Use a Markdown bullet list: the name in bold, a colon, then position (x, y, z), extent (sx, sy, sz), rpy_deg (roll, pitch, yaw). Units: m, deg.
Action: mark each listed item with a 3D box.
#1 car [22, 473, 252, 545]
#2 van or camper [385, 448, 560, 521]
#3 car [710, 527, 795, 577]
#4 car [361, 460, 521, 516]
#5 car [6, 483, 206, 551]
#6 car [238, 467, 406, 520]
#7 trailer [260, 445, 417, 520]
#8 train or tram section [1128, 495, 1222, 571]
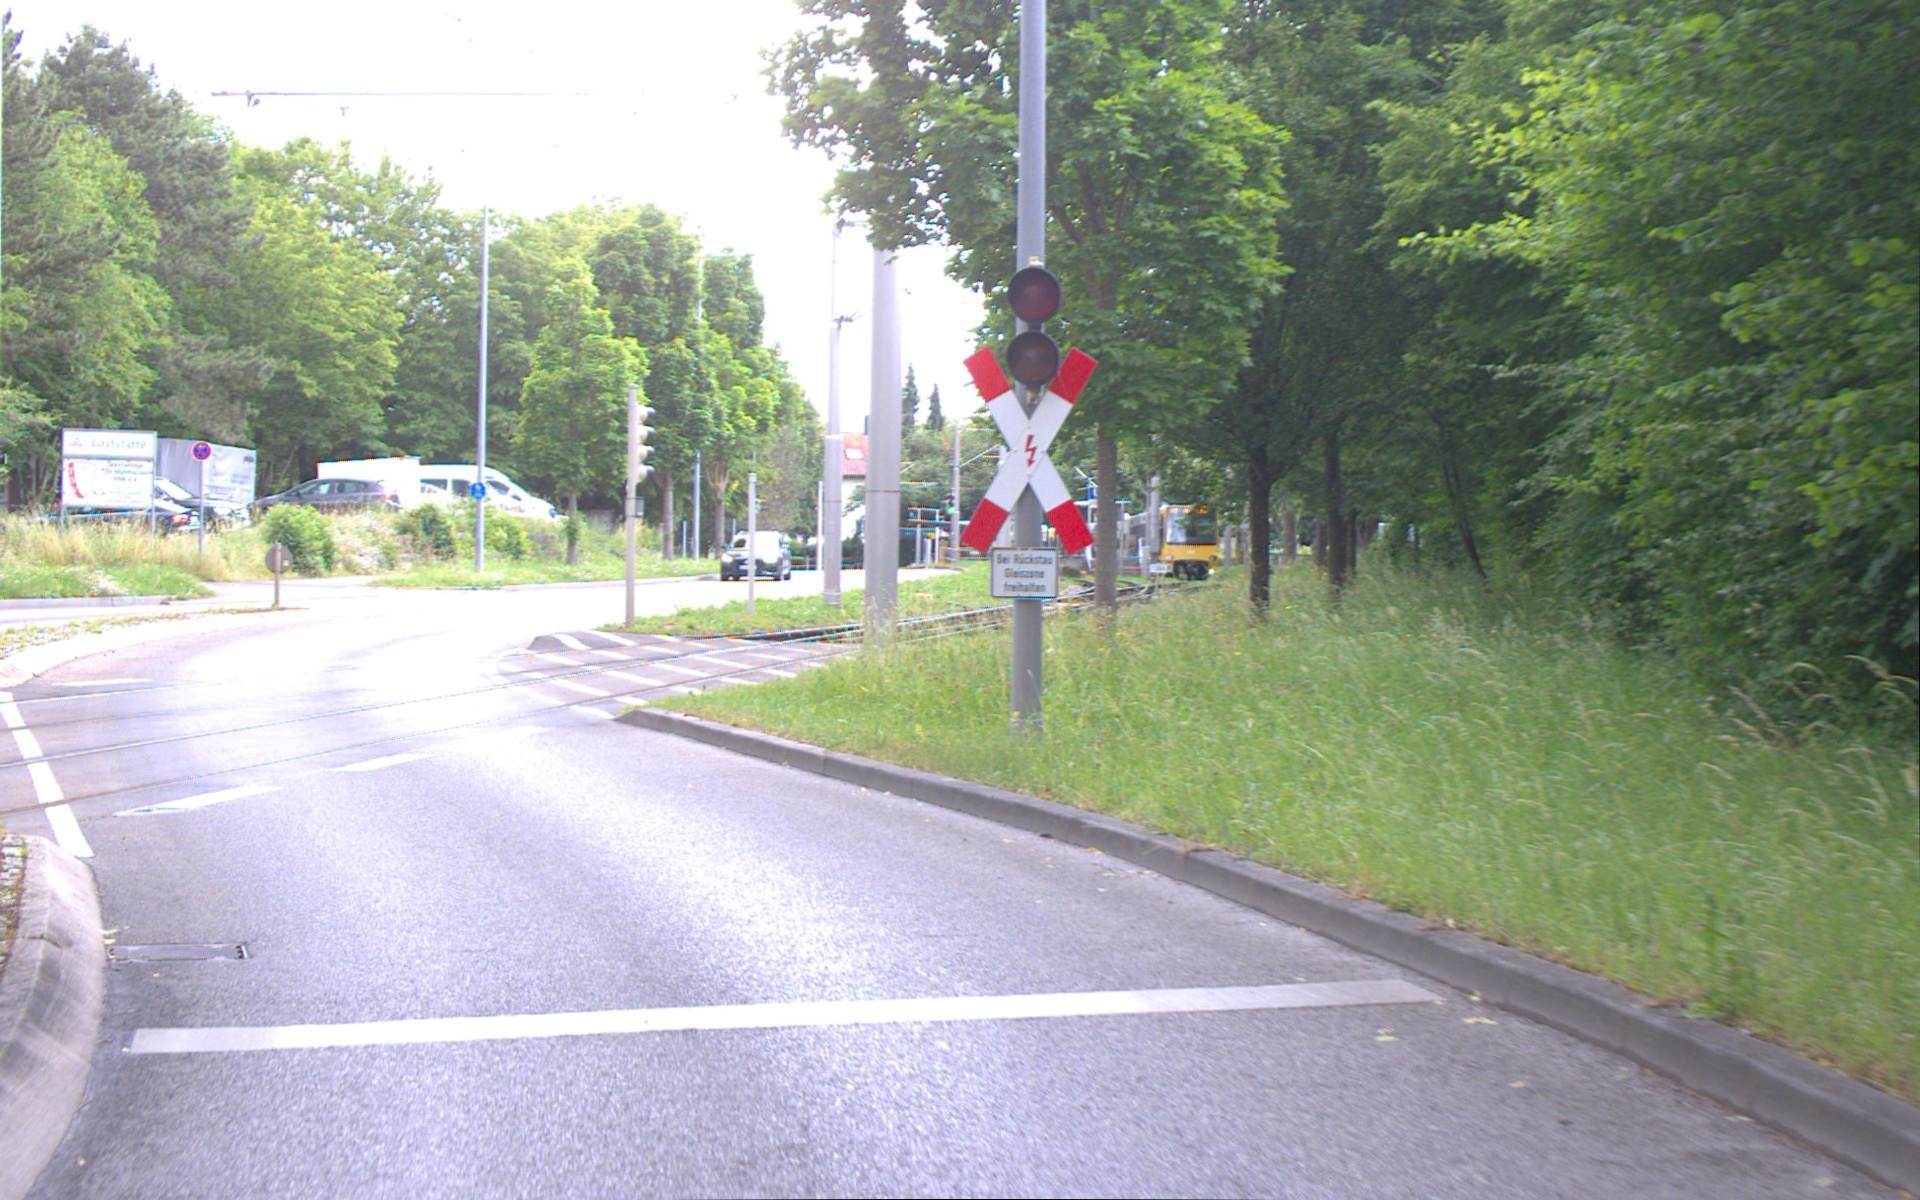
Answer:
- **car**: position (-19.783, -2.182, 82.724), extent (4.926, 1.579, 2.207), rpy_deg (2, 1, 3)
- **van or camper**: position (-15.950, -3.787, 112.610), extent (5.333, 2.195, 2.000), rpy_deg (2, 2, 4)
- **car**: position (-6.153, -1.453, 102.449), extent (1.994, 1.433, 4.426), rpy_deg (0, 2, 3)
- **car**: position (-16.614, -3.575, 110.127), extent (4.645, 1.650, 1.999), rpy_deg (2, 1, 11)
- **car**: position (-19.279, -1.882, 77.718), extent (3.954, 1.392, 2.000), rpy_deg (2, 2, 2)
- **car**: position (-17.651, -2.949, 95.232), extent (4.311, 1.443, 1.836), rpy_deg (0, 1, 1)
- **trailer**: position (-17.749, -3.361, 98.288), extent (3.988, 2.006, 1.907), rpy_deg (2, 2, 7)
- **train or tram section**: position (10.399, -3.396, 170.321), extent (3.008, 3.299, 34.712), rpy_deg (2, 1, 1)
